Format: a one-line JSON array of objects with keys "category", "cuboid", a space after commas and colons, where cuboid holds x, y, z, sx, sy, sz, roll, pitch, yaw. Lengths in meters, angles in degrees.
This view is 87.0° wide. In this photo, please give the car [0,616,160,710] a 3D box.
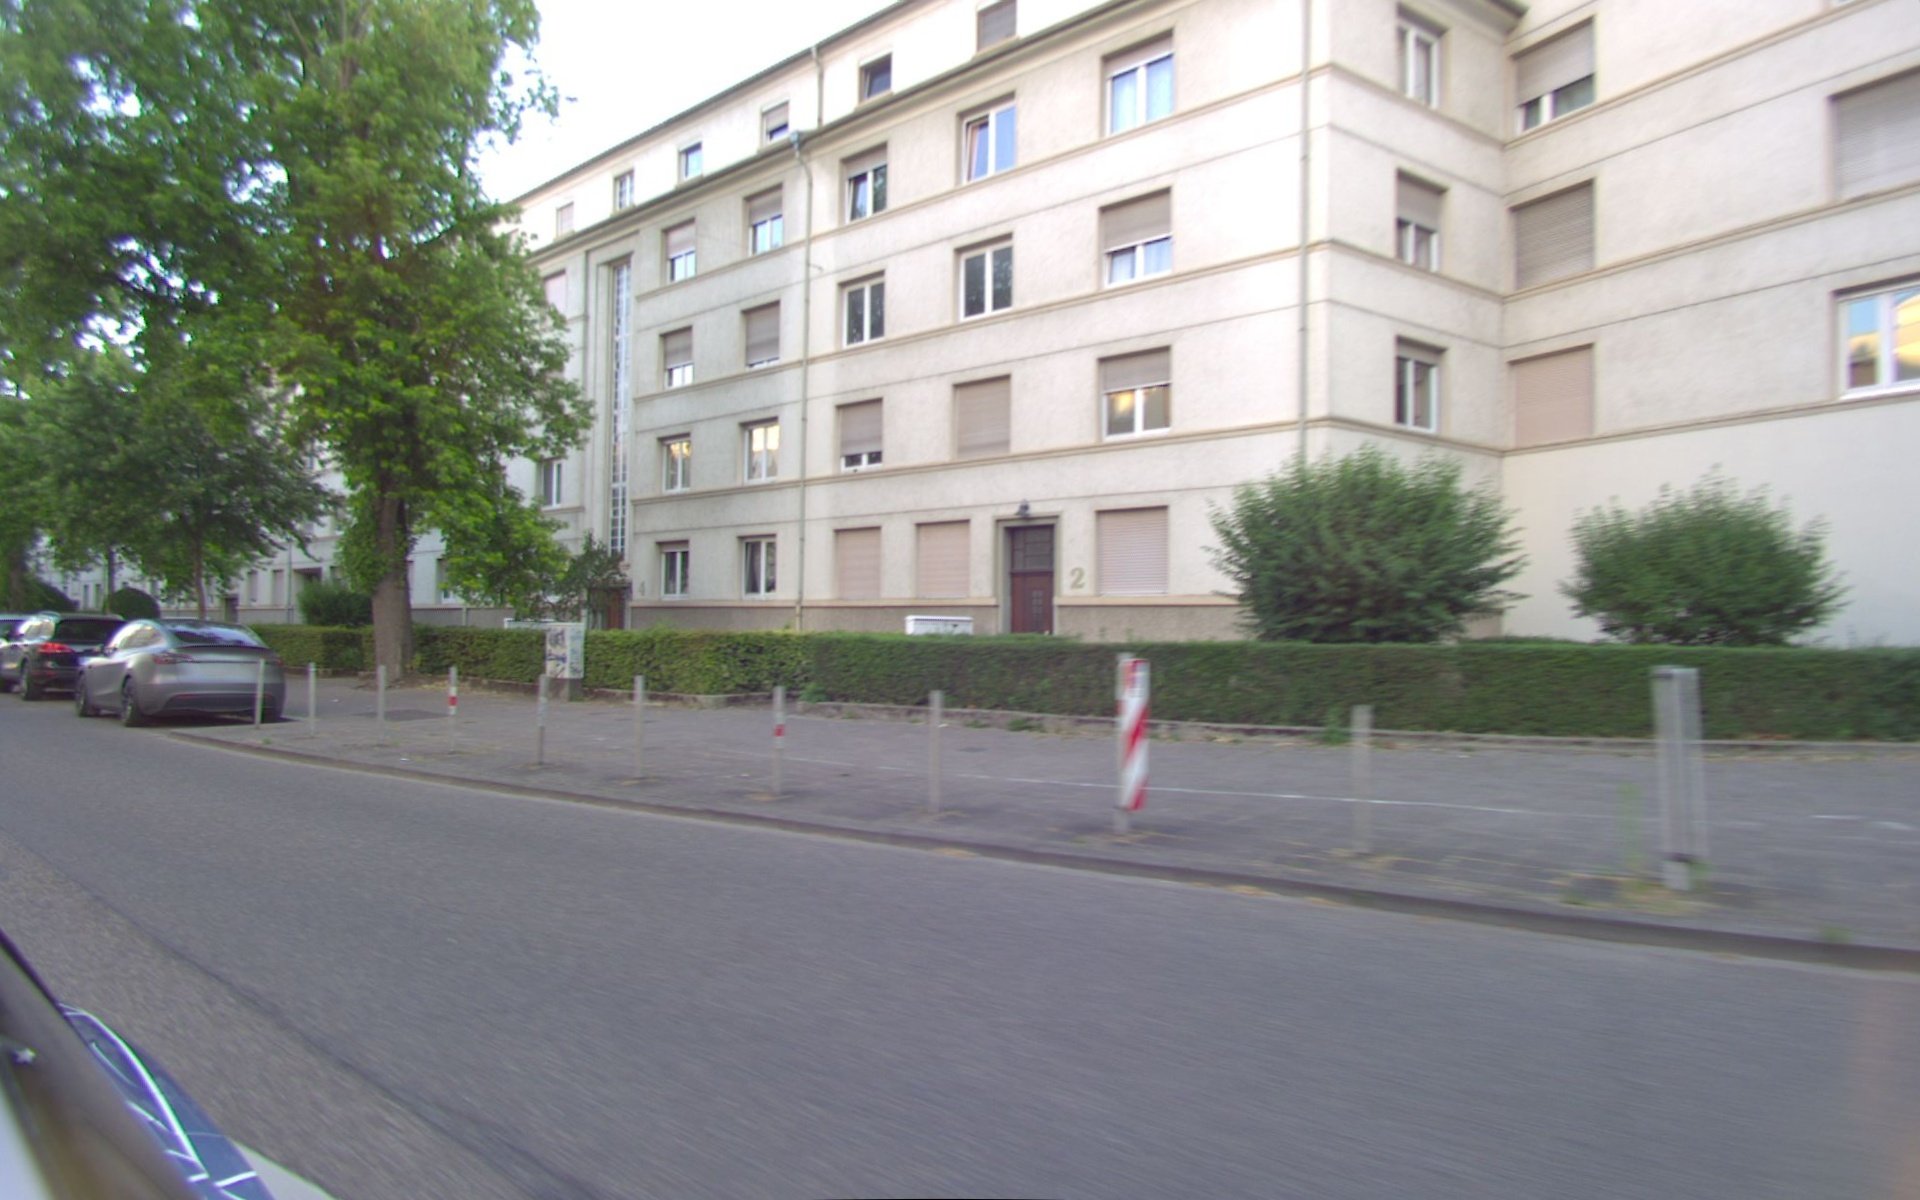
[{"category": "car", "cuboid": [-18.600, 1.262, 21.036, 4.764, 1.732, 1.935, -1, -4, 38]}]

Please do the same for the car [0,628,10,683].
[{"category": "car", "cuboid": [-28.694, 1.539, 29.050, 4.270, 1.508, 1.714, -2, -5, 43]}]

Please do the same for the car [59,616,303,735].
[{"category": "car", "cuboid": [-12.430, 1.130, 16.055, 4.599, 1.629, 1.935, -1, -4, 38]}]

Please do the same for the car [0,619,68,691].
[{"category": "car", "cuboid": [-24.531, 1.348, 25.672, 4.850, 1.704, 1.829, -1, -4, 37]}]
